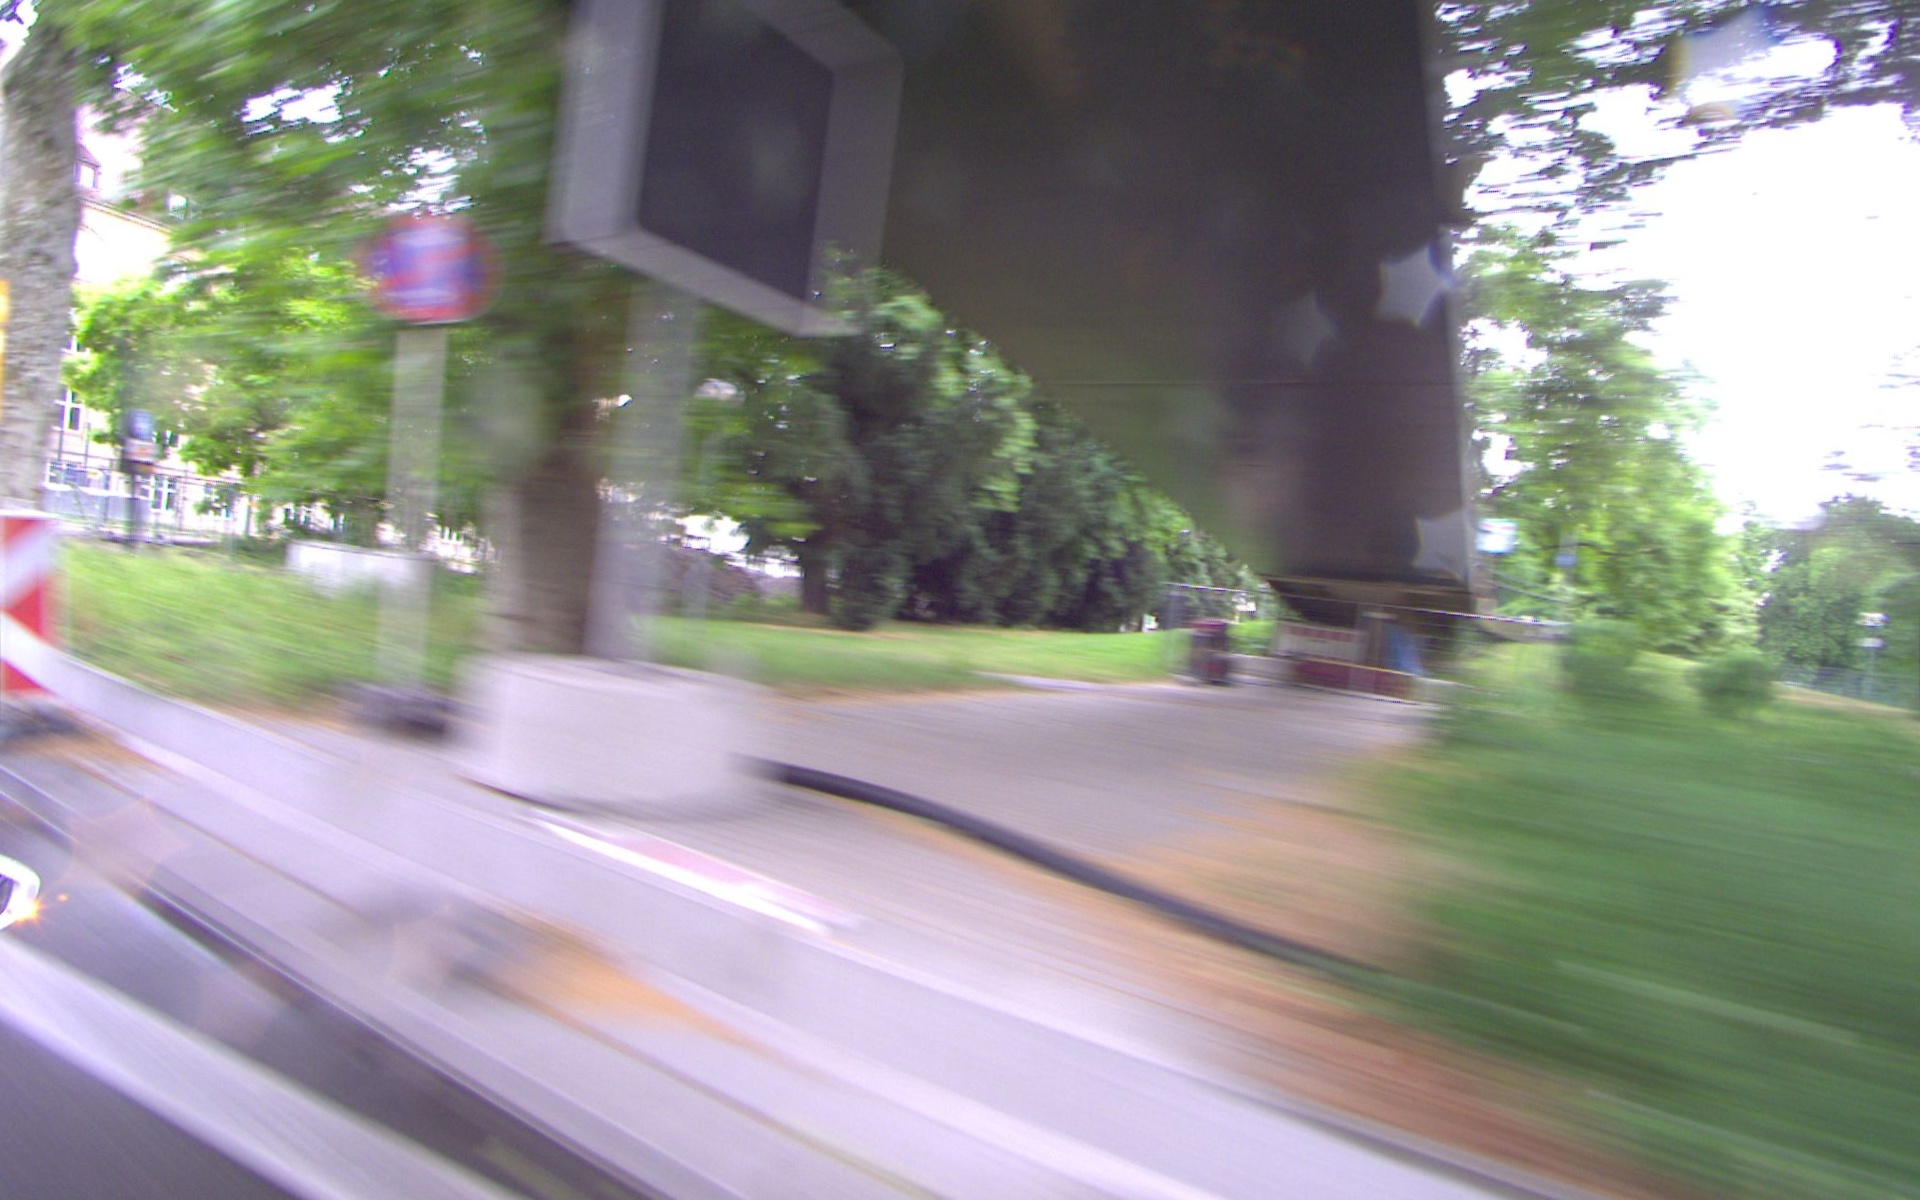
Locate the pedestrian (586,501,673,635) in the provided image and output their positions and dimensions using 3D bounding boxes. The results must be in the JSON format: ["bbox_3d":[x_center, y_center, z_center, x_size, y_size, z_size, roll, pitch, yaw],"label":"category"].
[{"bbox_3d":[-5.465,-0.520,16.714,1.022,2.039,1.050,7,1,-11],"label":"pedestrian"}]
